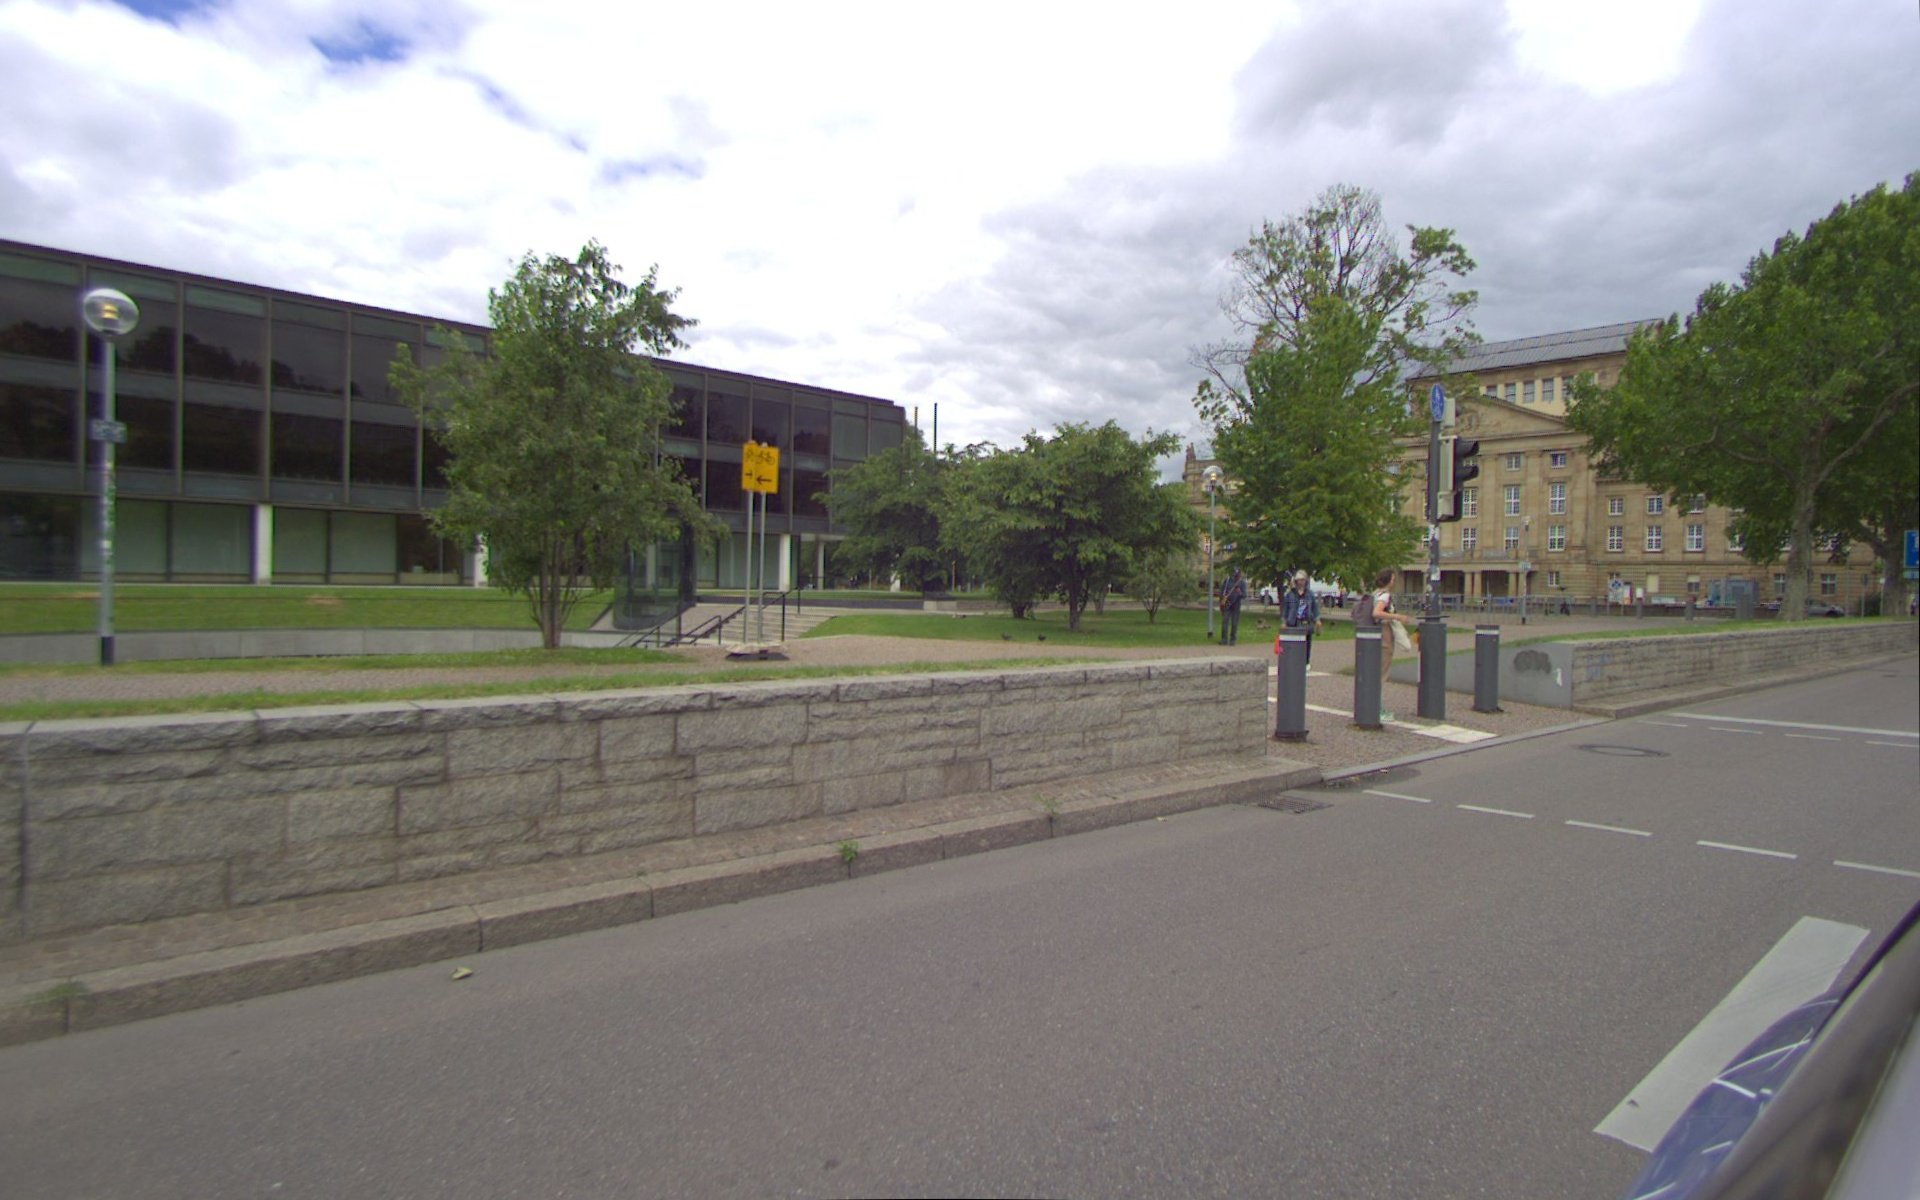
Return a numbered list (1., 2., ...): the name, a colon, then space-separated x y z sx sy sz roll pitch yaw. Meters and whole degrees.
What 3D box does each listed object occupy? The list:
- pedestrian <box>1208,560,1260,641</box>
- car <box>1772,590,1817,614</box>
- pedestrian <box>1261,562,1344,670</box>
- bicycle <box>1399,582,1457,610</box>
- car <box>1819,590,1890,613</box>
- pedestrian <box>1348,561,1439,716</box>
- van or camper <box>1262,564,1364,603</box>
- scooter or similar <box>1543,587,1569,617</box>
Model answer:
1. pedestrian: 5.682 -0.006 21.004 0.614 1.646 0.805 1 1 -34
2. car: 58.658 0.170 71.109 4.143 1.537 1.767 2 0 -41
3. pedestrian: 5.293 0.231 15.657 0.889 1.580 0.687 1 4 -25
4. bicycle: 20.416 -0.201 44.156 0.674 1.156 2.195 1 1 -41
5. car: 69.008 0.126 78.108 3.987 1.616 1.707 -2 -1 45
6. pedestrian: 4.894 0.416 11.430 0.672 1.677 0.698 -1 -1 -43
7. van or camper: 22.397 -1.038 64.378 2.281 2.348 5.705 -2 1 -42
8. scooter or similar: 26.628 0.071 45.205 0.716 1.261 0.717 -1 6 -44
